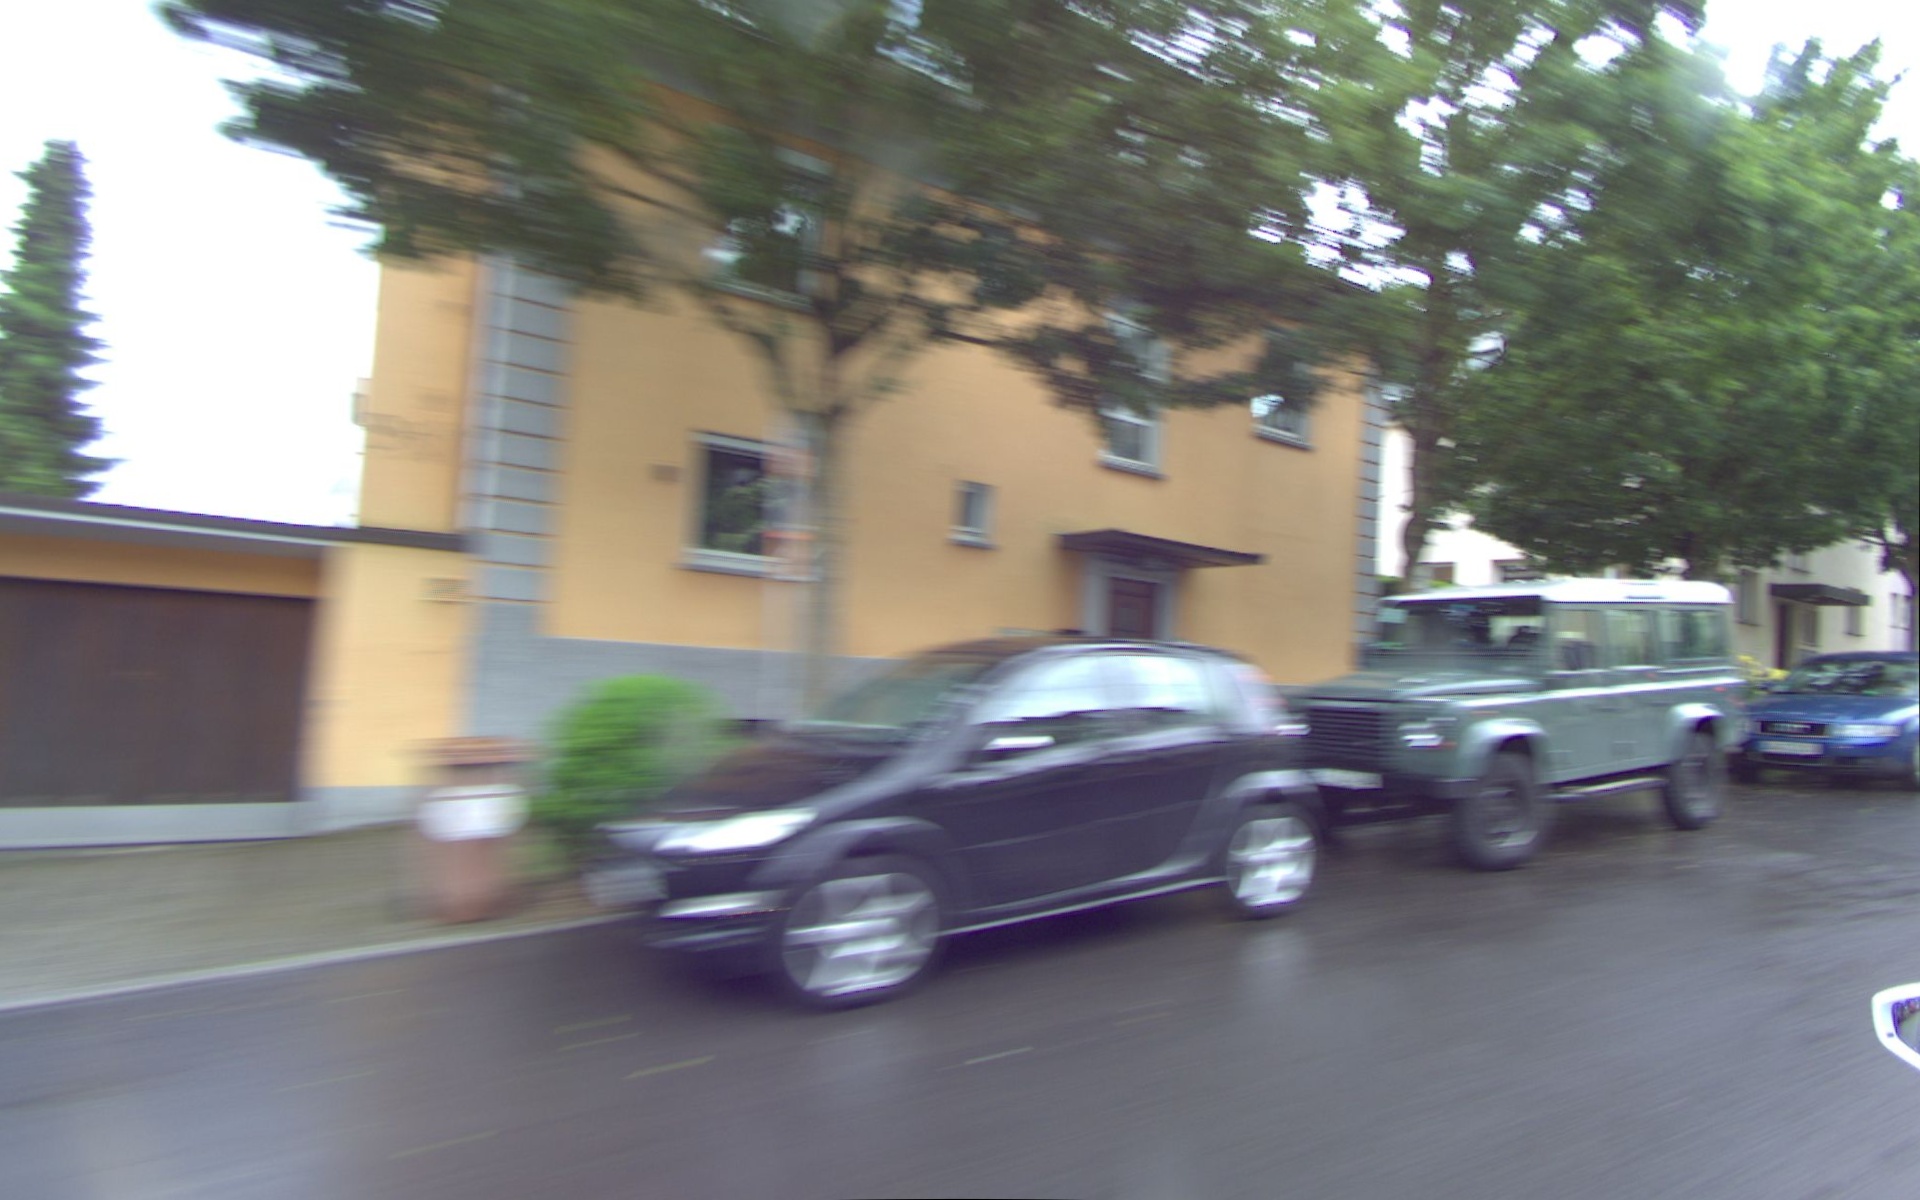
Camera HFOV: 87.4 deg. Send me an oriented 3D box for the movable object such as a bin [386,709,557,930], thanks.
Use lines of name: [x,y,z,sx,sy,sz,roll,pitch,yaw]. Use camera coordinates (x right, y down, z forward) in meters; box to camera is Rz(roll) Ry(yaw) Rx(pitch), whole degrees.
movable object such as a bin: [-2.616,1.118,5.374,0.702,1.024,0.678,2,-5,-38]

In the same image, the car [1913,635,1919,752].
car: [16.018,1.391,14.617,4.632,1.648,1.761,2,-3,-28]

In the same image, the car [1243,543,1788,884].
car: [4.640,0.775,8.165,4.729,2.076,1.782,1,-3,-32]

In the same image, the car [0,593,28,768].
car: [-10.277,0.756,8.919,1.828,1.914,4.359,7,-5,-30]

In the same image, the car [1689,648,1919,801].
car: [10.661,1.304,11.737,4.578,1.405,1.760,1,-2,-30]

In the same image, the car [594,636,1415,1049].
car: [0.430,0.954,5.511,4.301,1.455,1.758,2,-2,-33]
